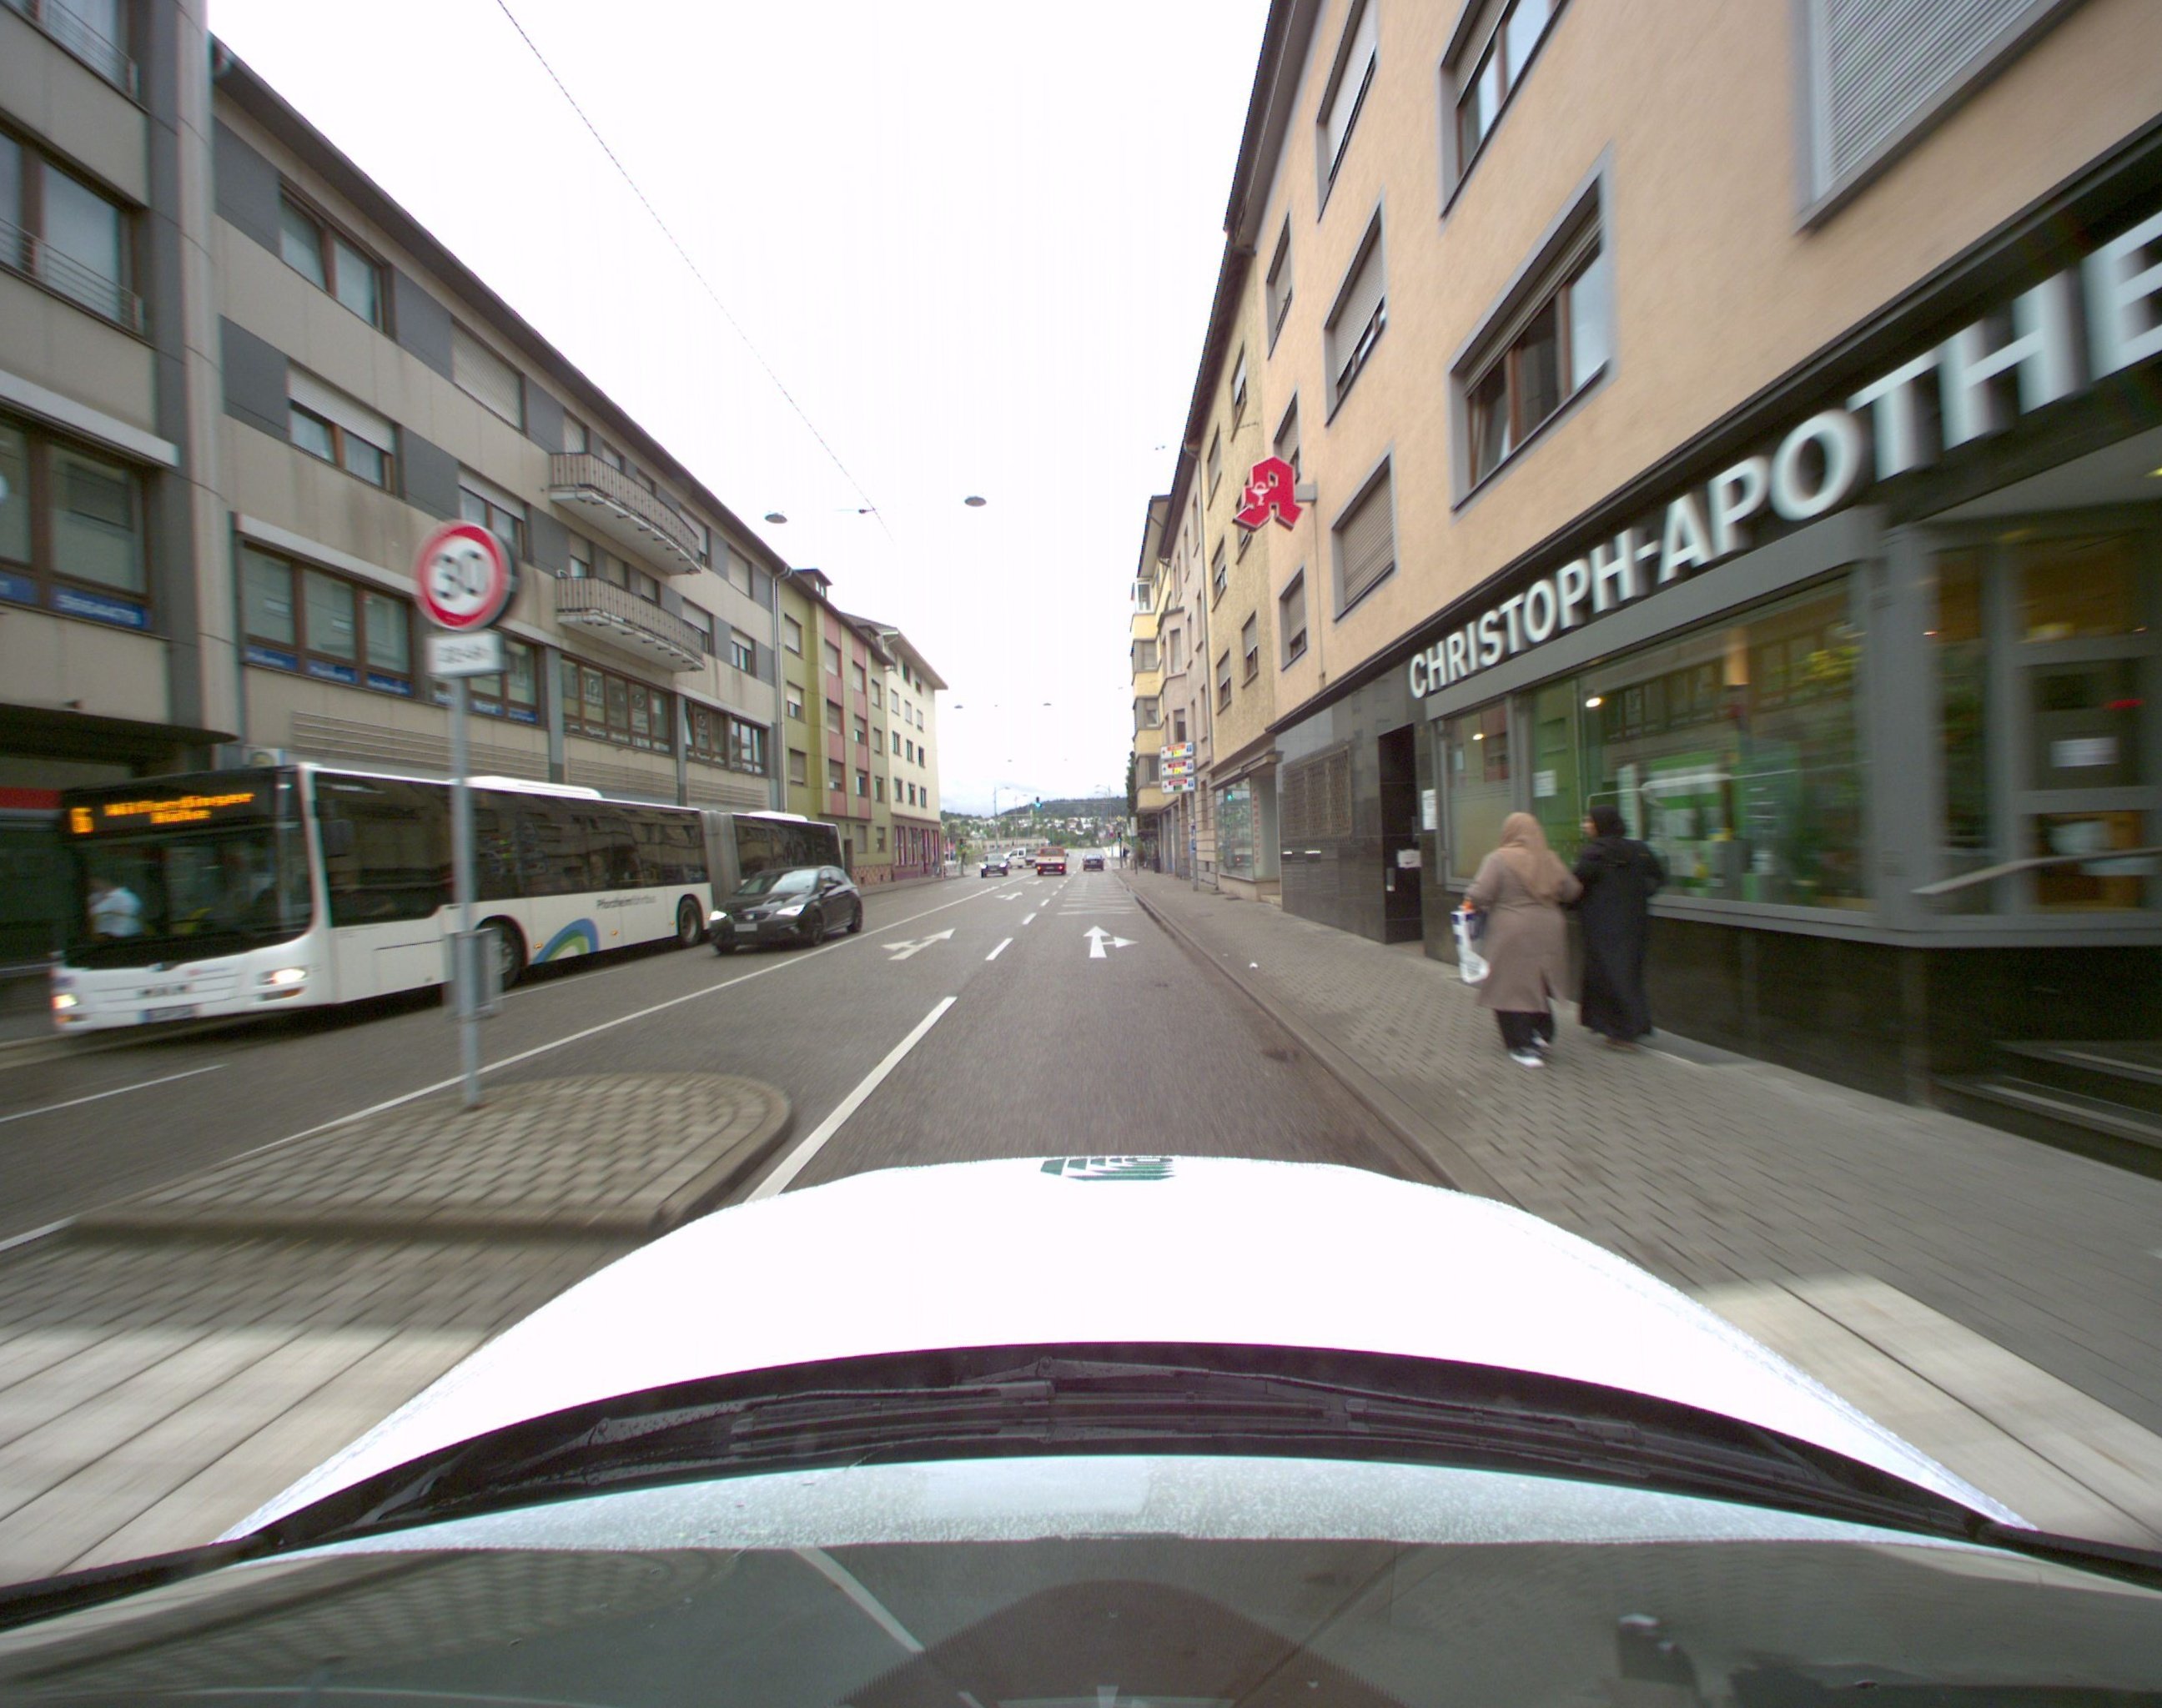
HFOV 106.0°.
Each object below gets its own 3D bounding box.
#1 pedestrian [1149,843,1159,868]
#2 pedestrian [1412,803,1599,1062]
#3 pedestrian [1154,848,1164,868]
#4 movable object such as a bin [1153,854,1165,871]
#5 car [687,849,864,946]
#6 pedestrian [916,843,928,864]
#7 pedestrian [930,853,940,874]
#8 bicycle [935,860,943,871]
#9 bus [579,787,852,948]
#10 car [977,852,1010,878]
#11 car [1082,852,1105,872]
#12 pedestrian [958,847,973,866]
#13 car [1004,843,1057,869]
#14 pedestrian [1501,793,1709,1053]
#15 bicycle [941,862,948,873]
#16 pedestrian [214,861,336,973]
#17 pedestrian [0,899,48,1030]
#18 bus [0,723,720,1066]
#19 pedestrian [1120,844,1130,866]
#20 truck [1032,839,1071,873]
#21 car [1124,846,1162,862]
[{"bbox_3d":[5.104,0.074,56.682,0.616,1.699,0.657,-3,0,4],"label":"pedestrian"},{"bbox_3d":[2.779,0.479,5.416,0.776,1.559,0.782,-3,0,-1],"label":"pedestrian"},{"bbox_3d":[5.559,0.272,57.891,0.562,1.396,0.513,-3,0,-2],"label":"pedestrian"},{"bbox_3d":[4.647,0.506,48.617,0.598,0.926,0.704,-3,0,0],"label":"movable object such as a bin"},{"bbox_3d":[-5.462,0.688,15.168,1.703,1.451,4.085,-3,1,0],"label":"car"},{"bbox_3d":[-12.215,-0.047,62.514,0.771,1.577,0.588,-3,0,0],"label":"pedestrian"},{"bbox_3d":[-11.194,0.720,62.463,0.573,1.553,0.739,-3,0,-2],"label":"pedestrian"},{"bbox_3d":[-10.605,0.832,60.724,0.263,0.783,1.422,-3,1,1],"label":"bicycle"},{"bbox_3d":[-8.817,0.221,21.375,2.716,3.188,9.294,-3,1,1],"label":"bus"},{"bbox_3d":[-6.436,0.790,60.160,1.925,1.757,4.571,-3,1,-1],"label":"car"},{"bbox_3d":[1.045,0.623,67.373,1.748,1.479,4.001,-3,1,1],"label":"car"},{"bbox_3d":[-12.484,0.248,87.893,0.973,2.013,1.181,-2,1,39],"label":"pedestrian"},{"bbox_3d":[-4.973,0.198,79.674,4.944,2.350,2.013,-2,1,35],"label":"car"},{"bbox_3d":[3.439,0.415,5.428,0.766,1.559,0.876,-3,0,-1],"label":"pedestrian"},{"bbox_3d":[-10.209,1.015,60.989,0.263,0.783,1.111,-3,1,1],"label":"bicycle"},{"bbox_3d":[-12.312,0.938,12.471,0.941,1.589,0.835,-3,0,3],"label":"pedestrian"},{"bbox_3d":[-12.121,1.223,8.829,0.765,1.396,0.787,-3,0,3],"label":"pedestrian"},{"bbox_3d":[-8.934,0.337,12.308,2.749,3.188,8.913,-3,1,1],"label":"bus"},{"bbox_3d":[3.711,0.084,68.880,0.731,1.841,0.631,-3,0,-1],"label":"pedestrian"},{"bbox_3d":[-1.972,0.116,56.960,2.392,2.129,5.315,-3,1,1],"label":"truck"},{"bbox_3d":[6.575,0.005,86.493,3.970,1.552,2.002,-3,1,3],"label":"car"}]
